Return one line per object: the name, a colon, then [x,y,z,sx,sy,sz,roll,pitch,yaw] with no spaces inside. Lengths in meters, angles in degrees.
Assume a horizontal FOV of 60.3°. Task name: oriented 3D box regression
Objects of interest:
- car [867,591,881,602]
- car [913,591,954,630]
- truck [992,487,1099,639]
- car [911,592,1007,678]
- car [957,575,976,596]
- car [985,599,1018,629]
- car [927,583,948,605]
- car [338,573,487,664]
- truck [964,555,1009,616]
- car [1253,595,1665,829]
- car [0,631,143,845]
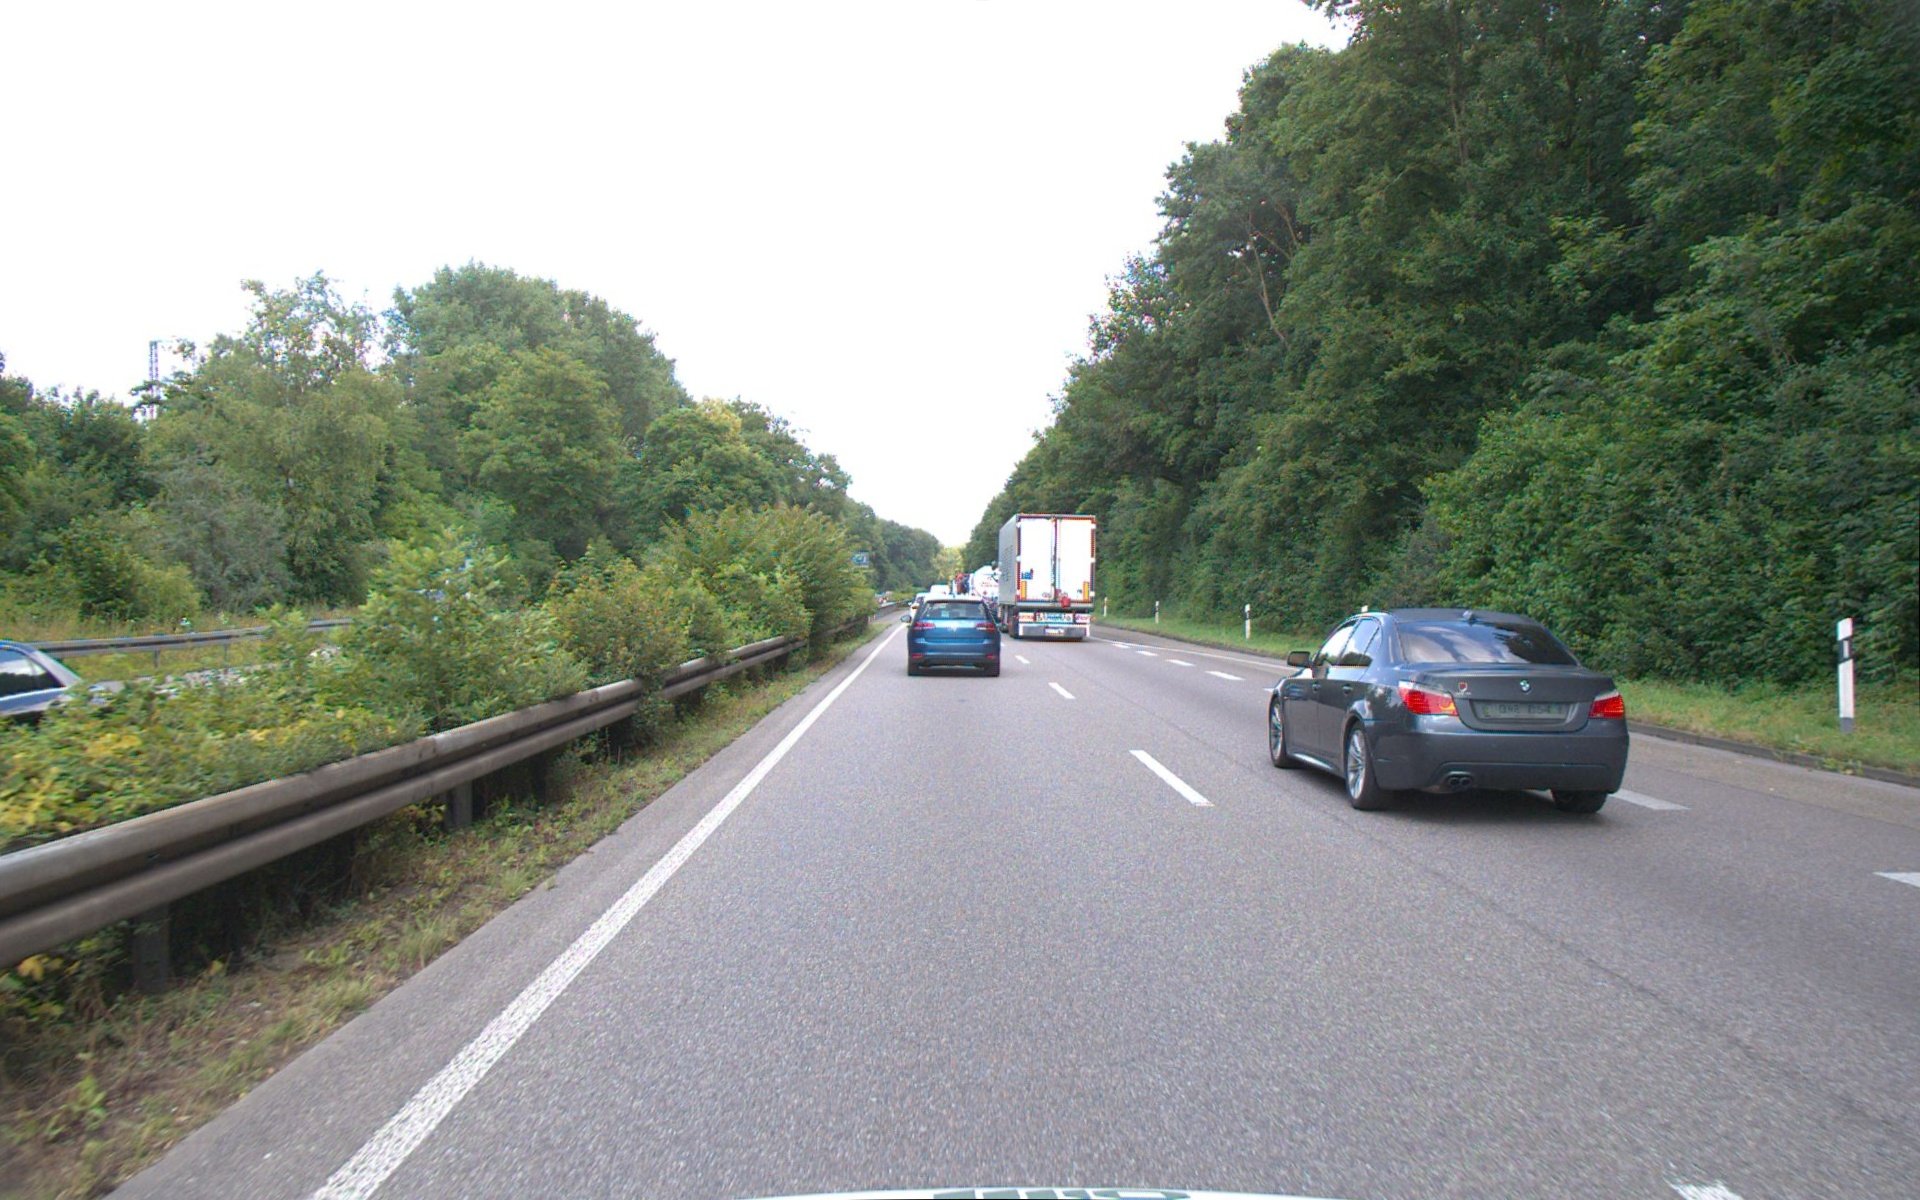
car: [-11.104,-0.458,213.805,1.644,1.480,4.127,0,0,0]
car: [-1.068,0.401,67.360,1.631,1.526,4.151,0,0,-1]
truck: [2.807,-1.225,57.910,3.175,4.798,11.007,-1,0,0]
car: [-0.061,0.620,31.318,1.670,1.495,3.999,1,0,-1]
car: [0.719,-1.658,187.282,1.954,2.368,4.439,-1,0,-3]
car: [2.476,0.823,100.040,1.850,1.759,4.000,-1,0,-1]
car: [-2.349,-0.647,173.508,1.954,2.294,4.439,0,0,-3]
car: [-12.188,0.371,37.102,1.953,1.902,4.276,0,0,-1]
truck: [1.939,-1.032,126.785,3.166,4.463,12.968,0,0,0]
car: [3.714,0.731,13.303,1.738,1.501,4.879,1,0,-1]
car: [-7.711,1.006,11.516,1.748,1.457,4.716,1,0,-1]
